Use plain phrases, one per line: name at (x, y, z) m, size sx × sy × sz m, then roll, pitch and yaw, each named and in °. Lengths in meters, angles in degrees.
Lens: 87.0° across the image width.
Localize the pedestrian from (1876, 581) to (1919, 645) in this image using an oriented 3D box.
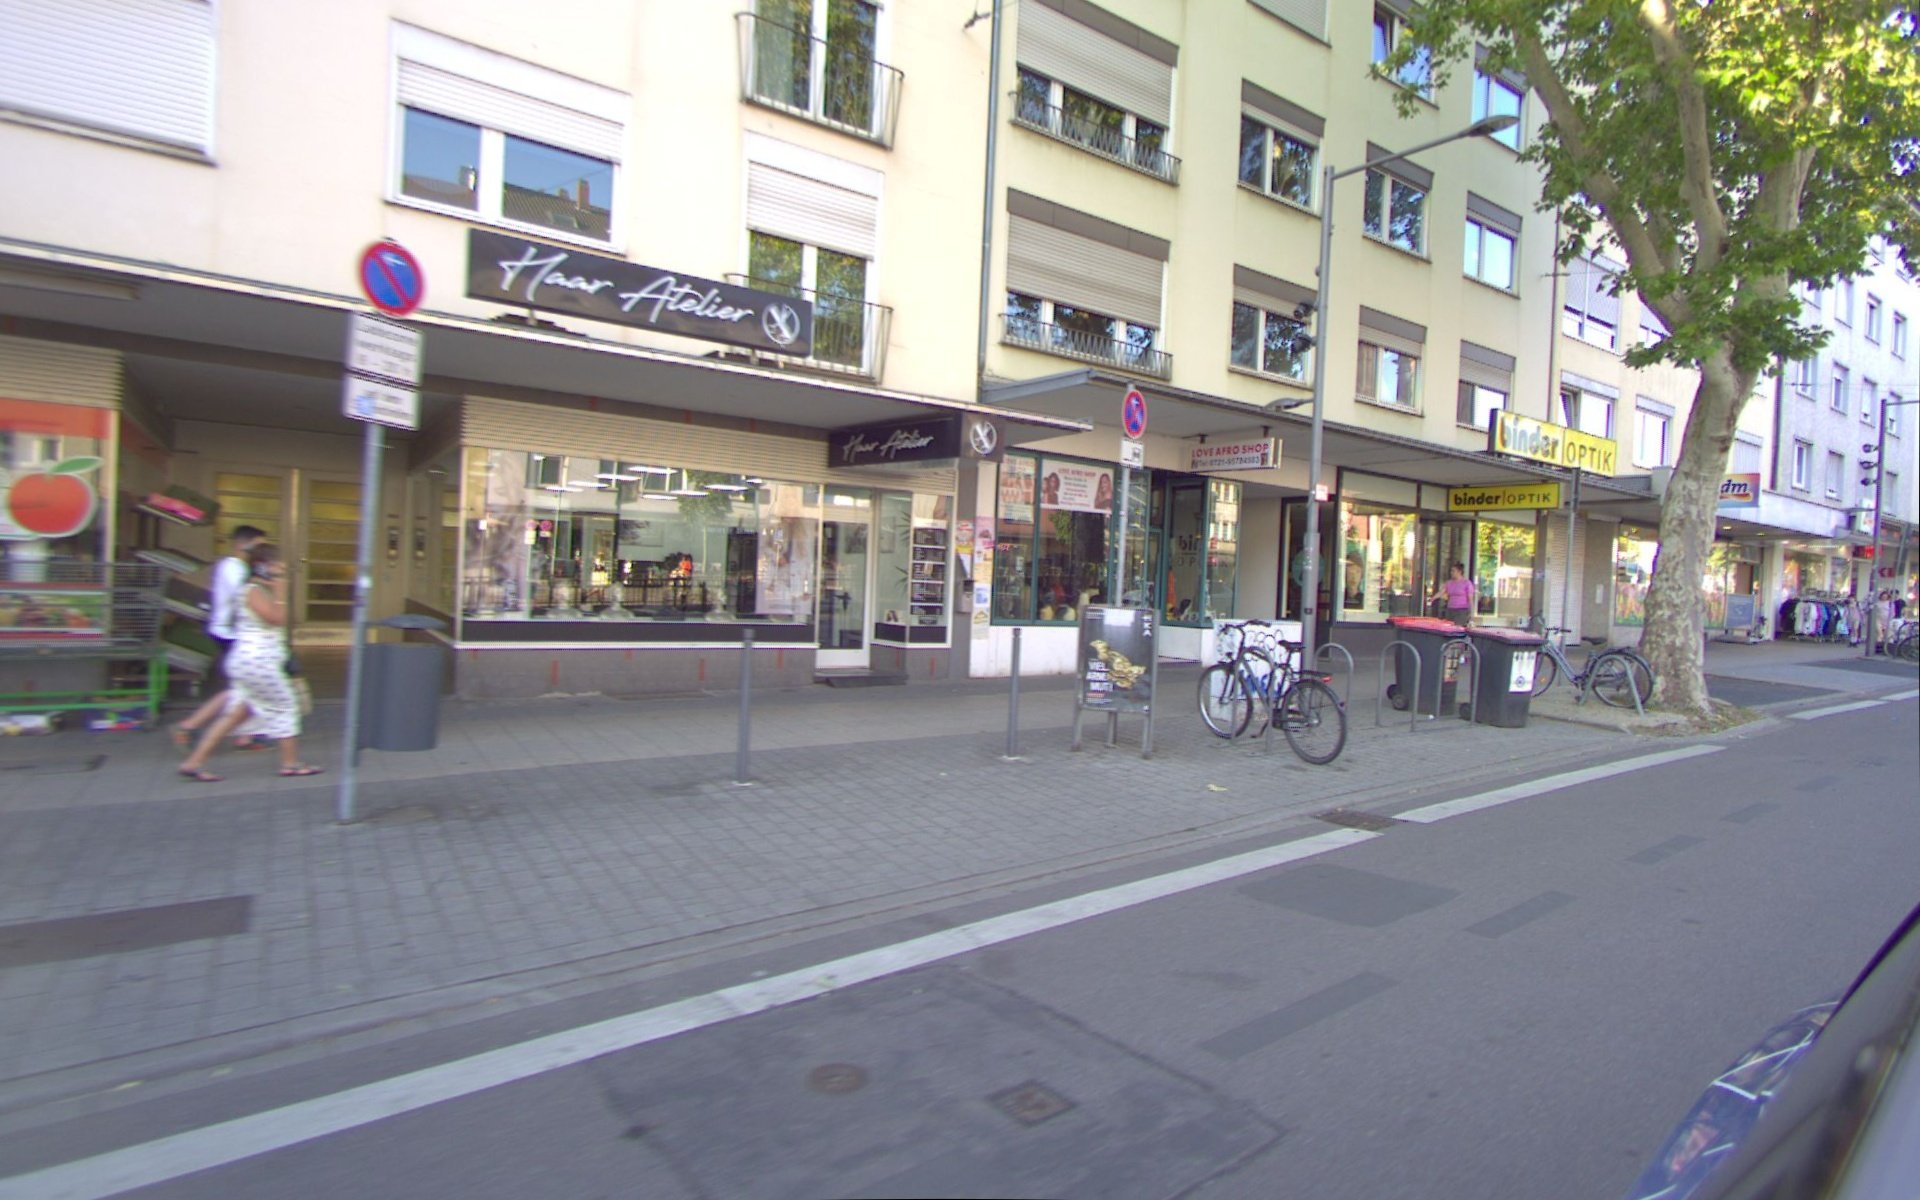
pedestrian at (25.110, 0.357, 27.110) m, size 0.878 × 1.648 × 0.548 m, roll 2°, pitch 3°, yaw -35°

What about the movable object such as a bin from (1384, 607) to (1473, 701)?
movable object such as a bin at (5.892, 0.668, 12.750) m, size 0.630 × 1.085 × 0.726 m, roll 2°, pitch 3°, yaw -17°

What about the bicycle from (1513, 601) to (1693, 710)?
bicycle at (7.927, 0.640, 12.554) m, size 0.731 × 1.130 × 1.724 m, roll -3°, pitch 4°, yaw -34°

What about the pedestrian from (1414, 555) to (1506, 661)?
pedestrian at (8.922, 0.121, 18.068) m, size 1.112 × 1.784 × 0.971 m, roll 0°, pitch 3°, yaw -34°

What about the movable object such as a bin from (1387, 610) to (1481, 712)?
movable object such as a bin at (5.610, 0.698, 12.001) m, size 0.632 × 1.084 × 0.725 m, roll 0°, pitch 5°, yaw -37°

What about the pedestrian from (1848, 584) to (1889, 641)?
pedestrian at (25.272, 0.351, 28.150) m, size 0.878 × 1.520 × 0.543 m, roll 2°, pitch 3°, yaw -35°

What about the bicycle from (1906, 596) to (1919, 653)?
bicycle at (23.305, 0.679, 23.423) m, size 0.679 × 1.326 × 1.799 m, roll 2°, pitch 6°, yaw -23°

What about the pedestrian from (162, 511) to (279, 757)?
pedestrian at (-5.135, 0.204, 7.041) m, size 0.615 × 1.605 × 0.624 m, roll 1°, pitch 4°, yaw -36°

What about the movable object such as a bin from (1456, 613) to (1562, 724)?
movable object such as a bin at (6.144, 0.750, 11.352) m, size 0.631 × 1.115 × 0.726 m, roll 1°, pitch 5°, yaw -28°

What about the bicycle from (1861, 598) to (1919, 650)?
bicycle at (23.500, 0.634, 24.871) m, size 1.778 × 1.137 × 0.658 m, roll 8°, pitch 6°, yaw 28°

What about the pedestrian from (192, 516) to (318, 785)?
pedestrian at (-4.521, 0.290, 6.490) m, size 0.615 × 1.605 × 0.638 m, roll 1°, pitch 4°, yaw -36°

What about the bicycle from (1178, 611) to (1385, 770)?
bicycle at (2.845, 0.753, 9.198) m, size 0.507 × 1.118 × 1.917 m, roll 1°, pitch 4°, yaw -28°

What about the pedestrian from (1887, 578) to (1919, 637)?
pedestrian at (28.118, 0.218, 30.014) m, size 1.049 × 1.695 × 0.570 m, roll 1°, pitch 3°, yaw -35°
